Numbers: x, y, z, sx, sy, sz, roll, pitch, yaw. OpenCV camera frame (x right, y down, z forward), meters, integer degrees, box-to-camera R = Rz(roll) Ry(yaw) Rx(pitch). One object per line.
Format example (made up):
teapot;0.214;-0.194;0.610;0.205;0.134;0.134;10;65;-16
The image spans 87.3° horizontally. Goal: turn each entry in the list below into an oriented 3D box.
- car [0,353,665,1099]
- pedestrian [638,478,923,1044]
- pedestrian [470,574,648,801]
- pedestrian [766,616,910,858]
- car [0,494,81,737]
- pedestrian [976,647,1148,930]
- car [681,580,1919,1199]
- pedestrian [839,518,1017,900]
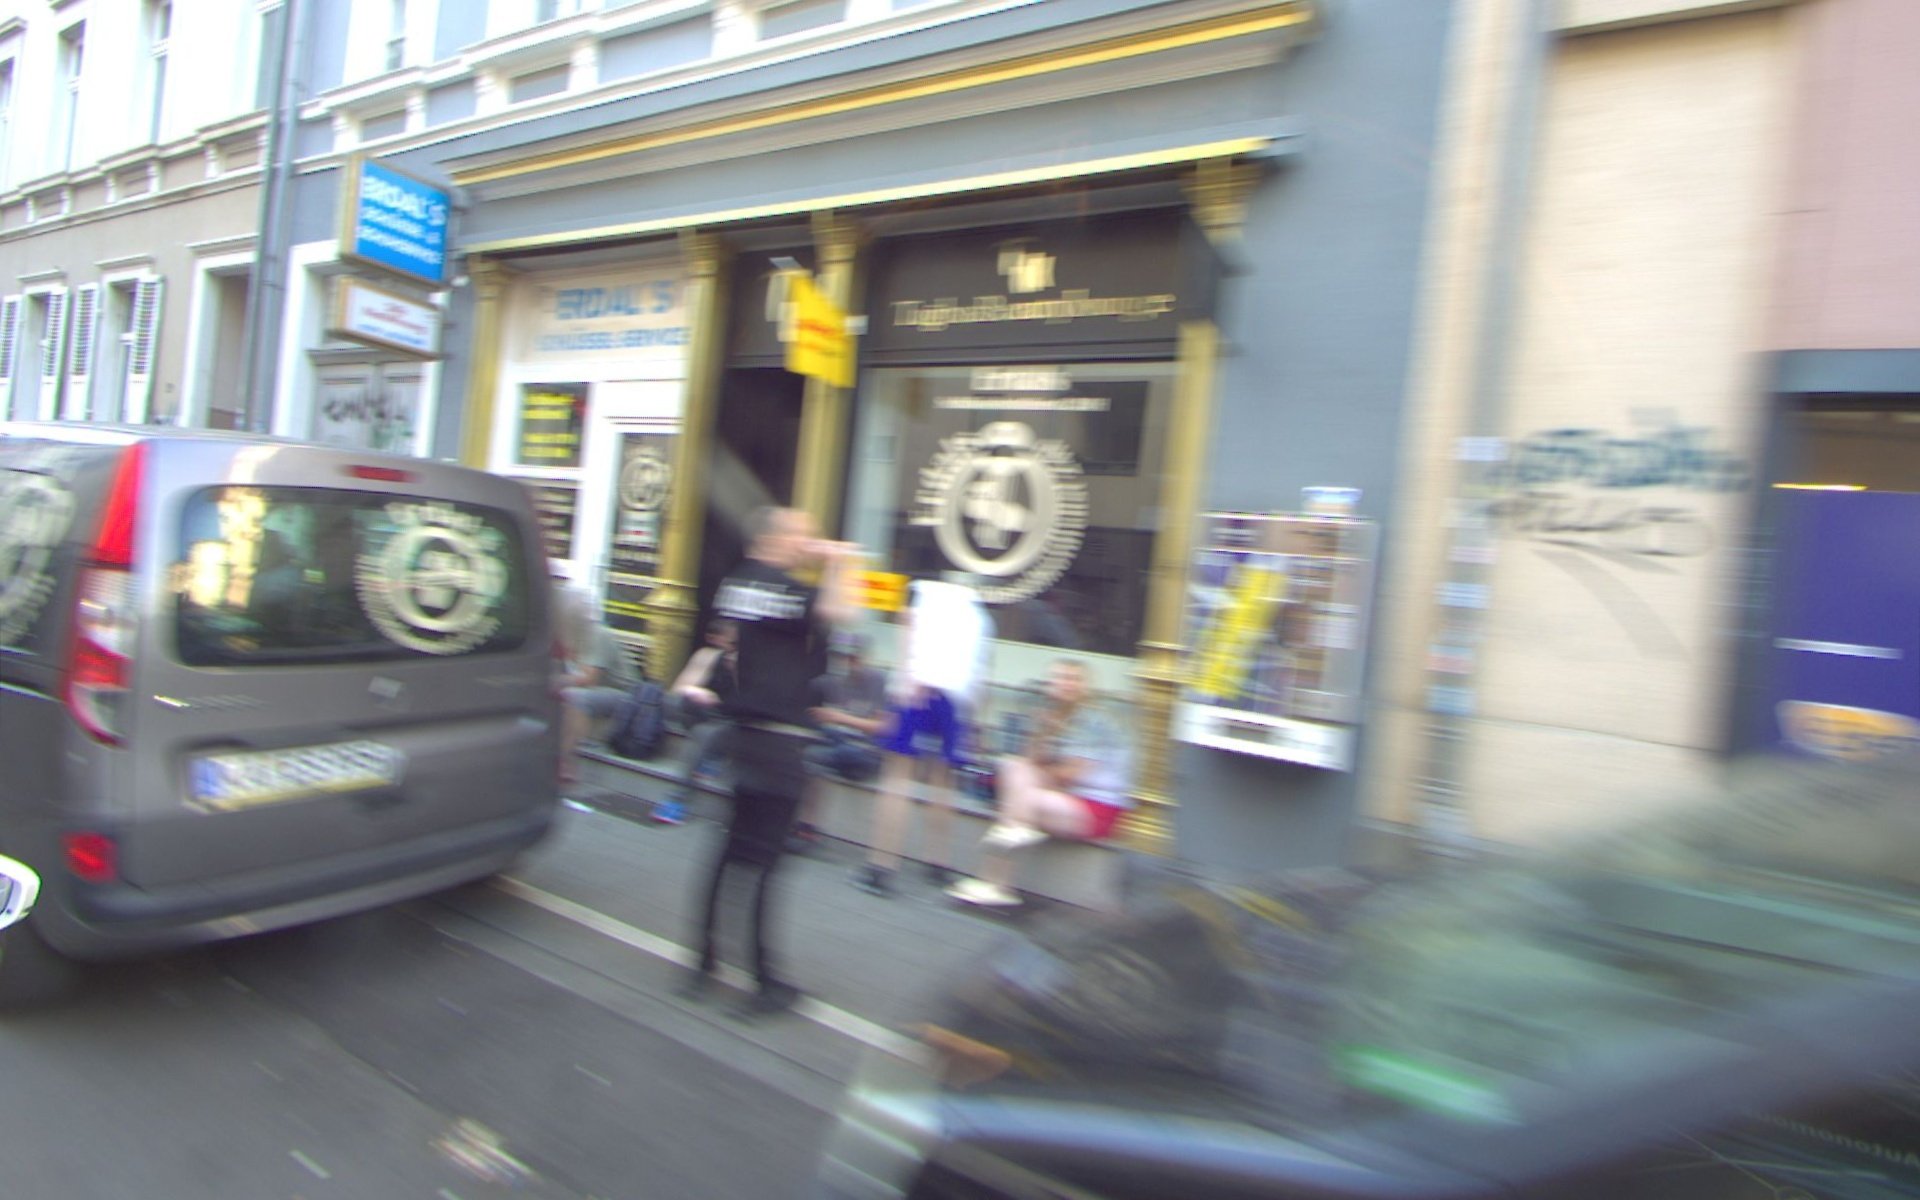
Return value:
car;-3.582;0.201;4.326;4.242;1.814;1.903;6;-1;31
pedestrian;-0.610;0.491;3.435;0.644;1.724;0.442;6;-1;31
pedestrian;-2.531;0.541;6.376;0.643;1.292;0.676;6;-1;33
pedestrian;-0.682;0.748;5.644;0.506;1.237;0.439;6;-1;33
car;-7.801;-0.099;6.793;3.549;1.529;1.556;6;-1;28
pedestrian;0.477;0.882;4.833;0.524;1.237;0.512;7;-1;-19
car;1.351;0.912;1.358;3.260;1.578;1.569;6;3;33
pedestrian;-0.162;0.527;4.920;0.556;1.761;0.425;7;-1;-25
